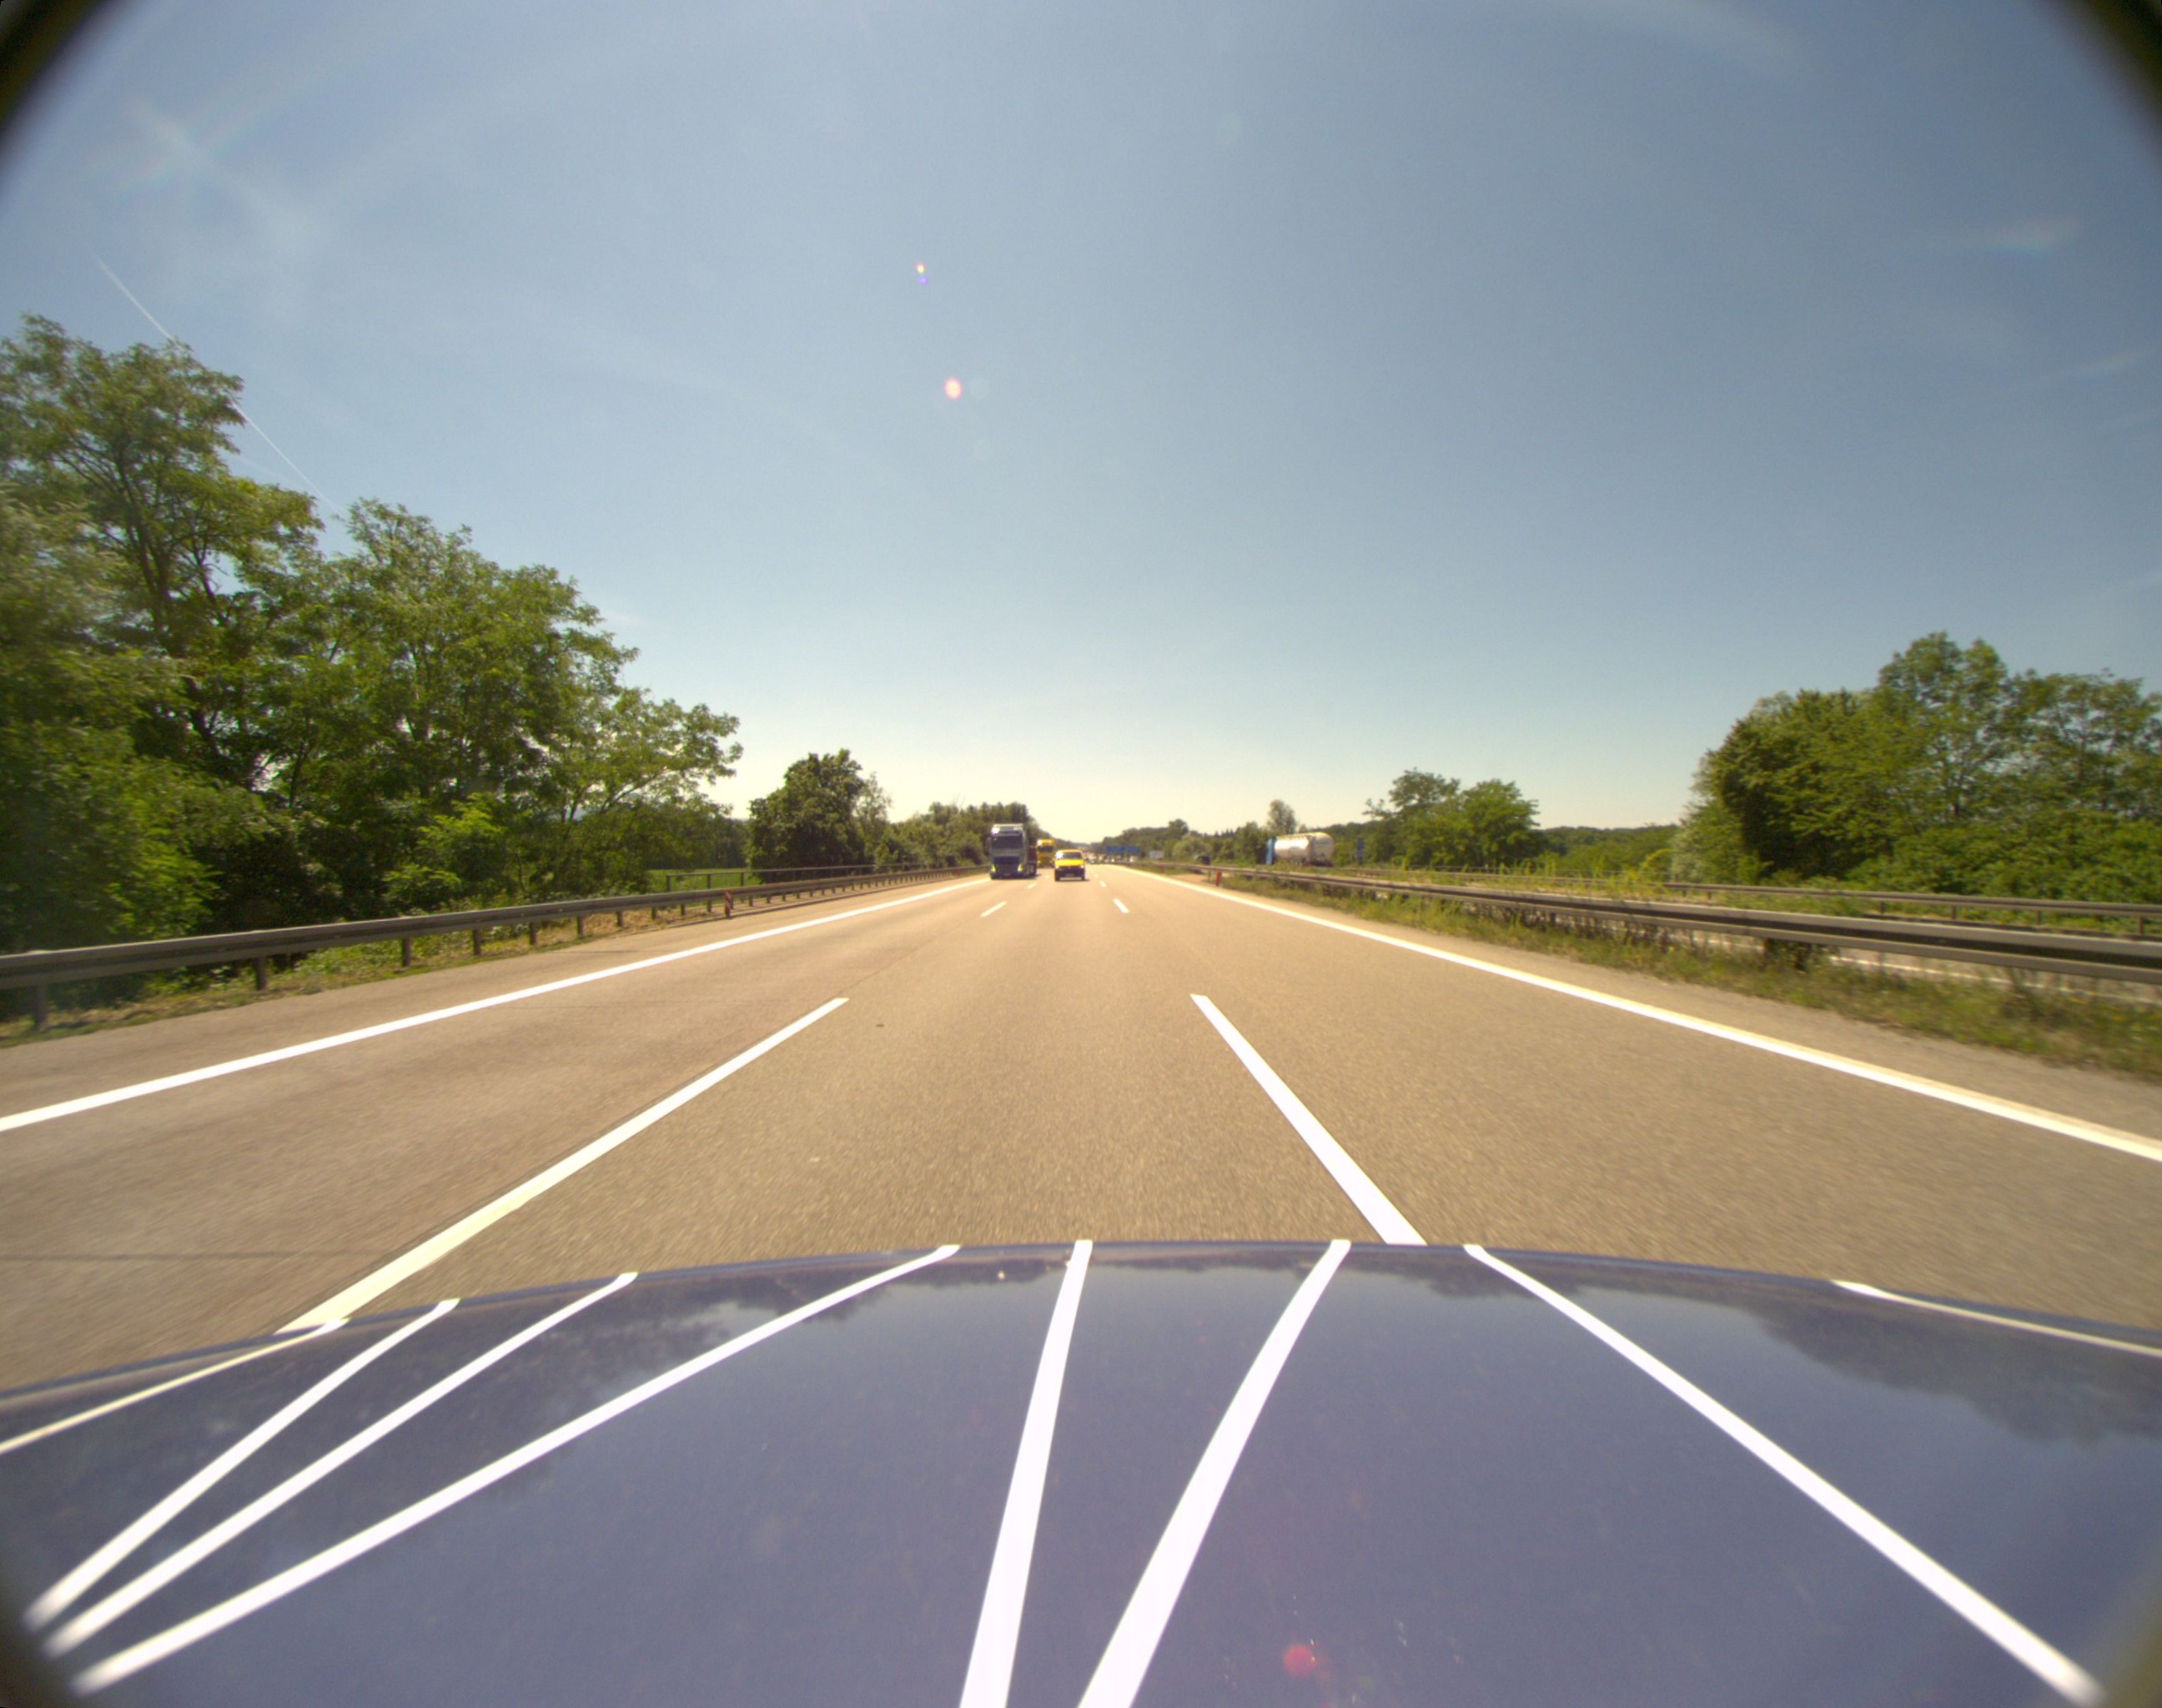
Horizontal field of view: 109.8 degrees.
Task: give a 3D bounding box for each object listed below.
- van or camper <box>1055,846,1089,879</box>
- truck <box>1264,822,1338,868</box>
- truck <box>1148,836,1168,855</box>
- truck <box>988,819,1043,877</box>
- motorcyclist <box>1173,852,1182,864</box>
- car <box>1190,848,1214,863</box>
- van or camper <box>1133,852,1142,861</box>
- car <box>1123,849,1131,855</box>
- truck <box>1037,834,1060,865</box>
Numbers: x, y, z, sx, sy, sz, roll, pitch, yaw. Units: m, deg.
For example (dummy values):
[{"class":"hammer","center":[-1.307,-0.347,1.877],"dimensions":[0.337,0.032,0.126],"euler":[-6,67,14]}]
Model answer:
[{"class":"van or camper","center":[-0.552,0.519,47.868],"dimensions":[1.999,1.898,4.971],"euler":[-1,0,0]},{"class":"truck","center":[21.019,-0.858,73.908],"dimensions":[2.736,4.029,15.934],"euler":[0,1,0]},{"class":"truck","center":[20.918,-2.202,207.454],"dimensions":[3.234,4.692,16.858],"euler":[2,0,0]},{"class":"truck","center":[-4.945,-0.461,60.495],"dimensions":[2.977,3.934,16.611],"euler":[-1,0,0]},{"class":"motorcyclist","center":[12.738,0.569,100.694],"dimensions":[0.974,1.511,1.334],"euler":[2,1,-1]},{"class":"car","center":[16.625,0.211,104.766],"dimensions":[2.419,1.906,5.782],"euler":[0,0,0]},{"class":"van or camper","center":[17.264,0.762,233.085],"dimensions":[1.999,2.551,7.034],"euler":[2,0,-1]},{"class":"car","center":[12.470,-0.597,205.135],"dimensions":[1.998,1.720,5.107],"euler":[0,0,0]},{"class":"truck","center":[-4.784,-0.677,114.556],"dimensions":[2.852,4.232,16.789],"euler":[0,0,0]}]
